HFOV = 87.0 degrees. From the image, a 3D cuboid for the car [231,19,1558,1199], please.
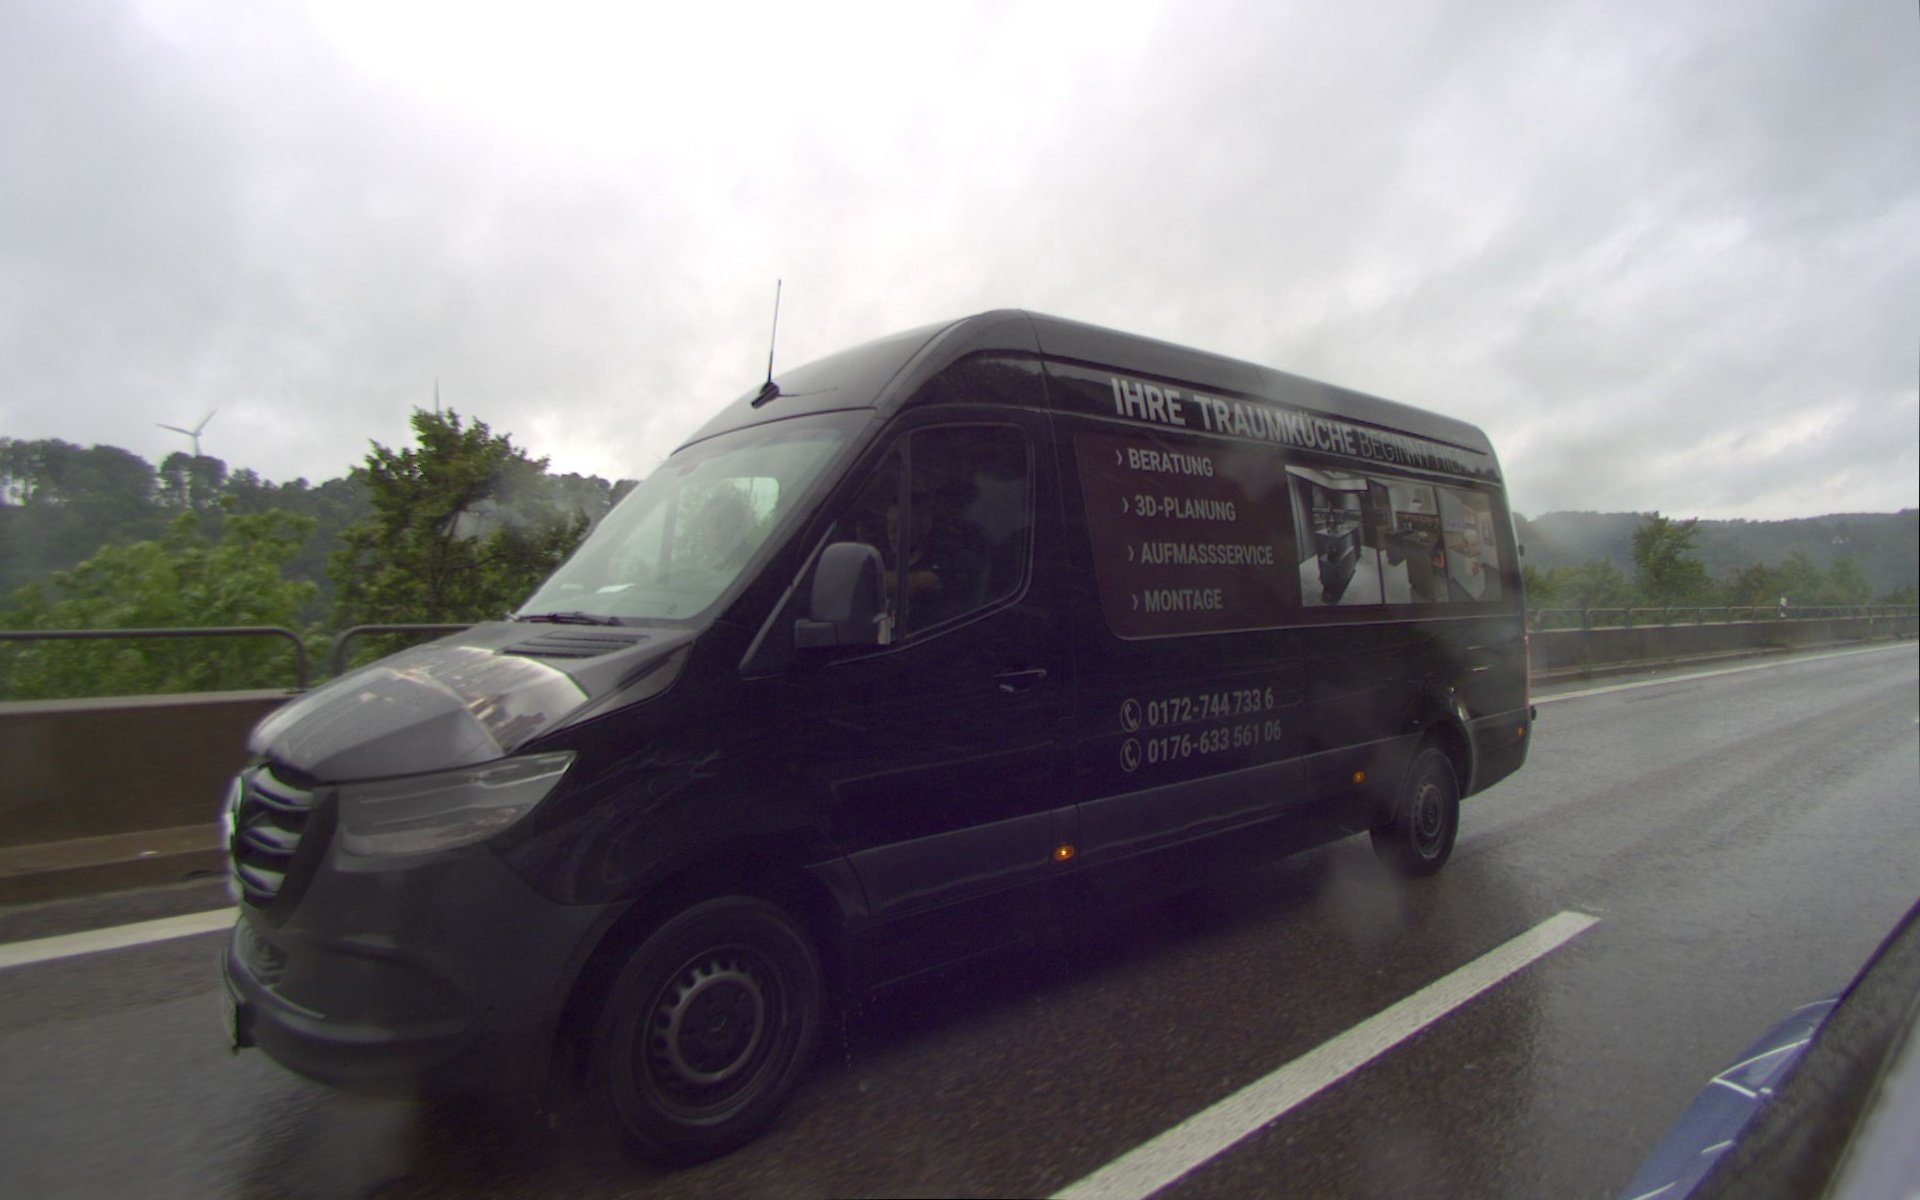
[{"bbox_3d":[0.616,0.118,4.907,6.588,2.526,1.997,0,0,-41],"label":"car"}]
